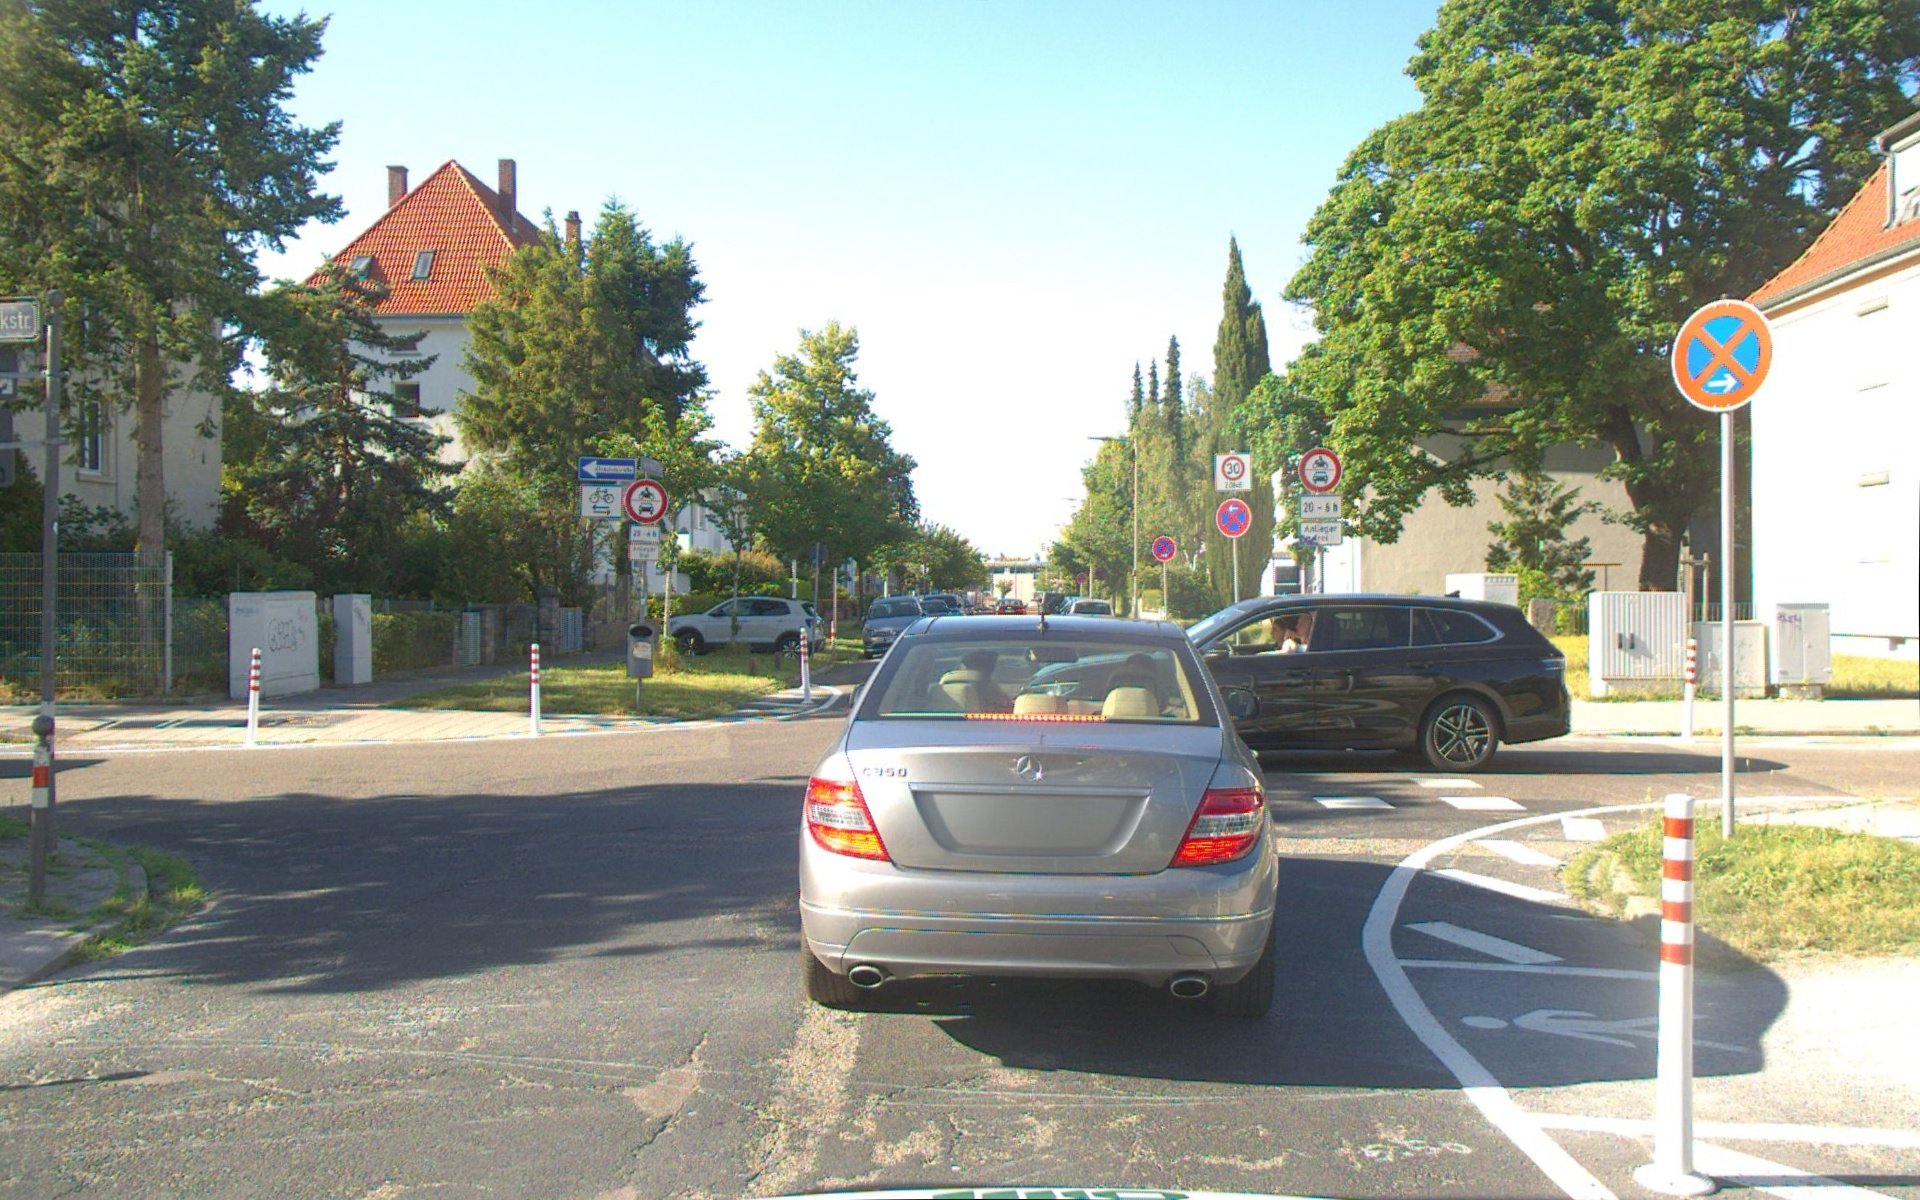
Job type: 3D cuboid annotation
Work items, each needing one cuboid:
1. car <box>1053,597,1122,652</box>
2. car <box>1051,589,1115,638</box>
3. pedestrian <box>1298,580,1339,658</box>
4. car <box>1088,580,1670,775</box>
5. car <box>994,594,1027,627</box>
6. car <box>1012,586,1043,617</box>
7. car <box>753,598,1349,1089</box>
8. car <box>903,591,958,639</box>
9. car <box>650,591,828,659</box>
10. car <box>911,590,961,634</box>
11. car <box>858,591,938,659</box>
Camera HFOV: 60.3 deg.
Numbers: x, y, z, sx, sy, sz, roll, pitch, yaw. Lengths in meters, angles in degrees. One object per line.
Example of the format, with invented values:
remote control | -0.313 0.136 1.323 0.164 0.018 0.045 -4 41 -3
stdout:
car | 3.635 0.670 47.616 1.698 1.505 3.725 -1 0 0
car | 4.298 0.463 58.360 1.953 1.638 4.000 -1 0 0
pedestrian | 7.598 0.395 35.052 0.750 1.639 0.835 -1 0 7
car | 3.540 0.635 14.656 4.643 1.551 2.000 -1 0 -1
car | 2.623 0.511 86.177 1.564 1.638 3.644 -1 0 0
car | 4.204 0.107 103.224 1.816 1.873 4.001 -1 0 1
car | 0.375 0.727 7.005 1.798 1.466 4.002 0 0 3
car | -1.097 0.531 63.259 1.953 1.637 4.000 -4 0 0
car | -5.354 0.594 40.398 4.107 1.591 1.842 0 0 -1
car | -0.967 0.467 69.053 1.953 1.637 4.000 -4 0 0
car | -1.663 0.643 45.453 1.953 1.637 4.000 -4 0 0
